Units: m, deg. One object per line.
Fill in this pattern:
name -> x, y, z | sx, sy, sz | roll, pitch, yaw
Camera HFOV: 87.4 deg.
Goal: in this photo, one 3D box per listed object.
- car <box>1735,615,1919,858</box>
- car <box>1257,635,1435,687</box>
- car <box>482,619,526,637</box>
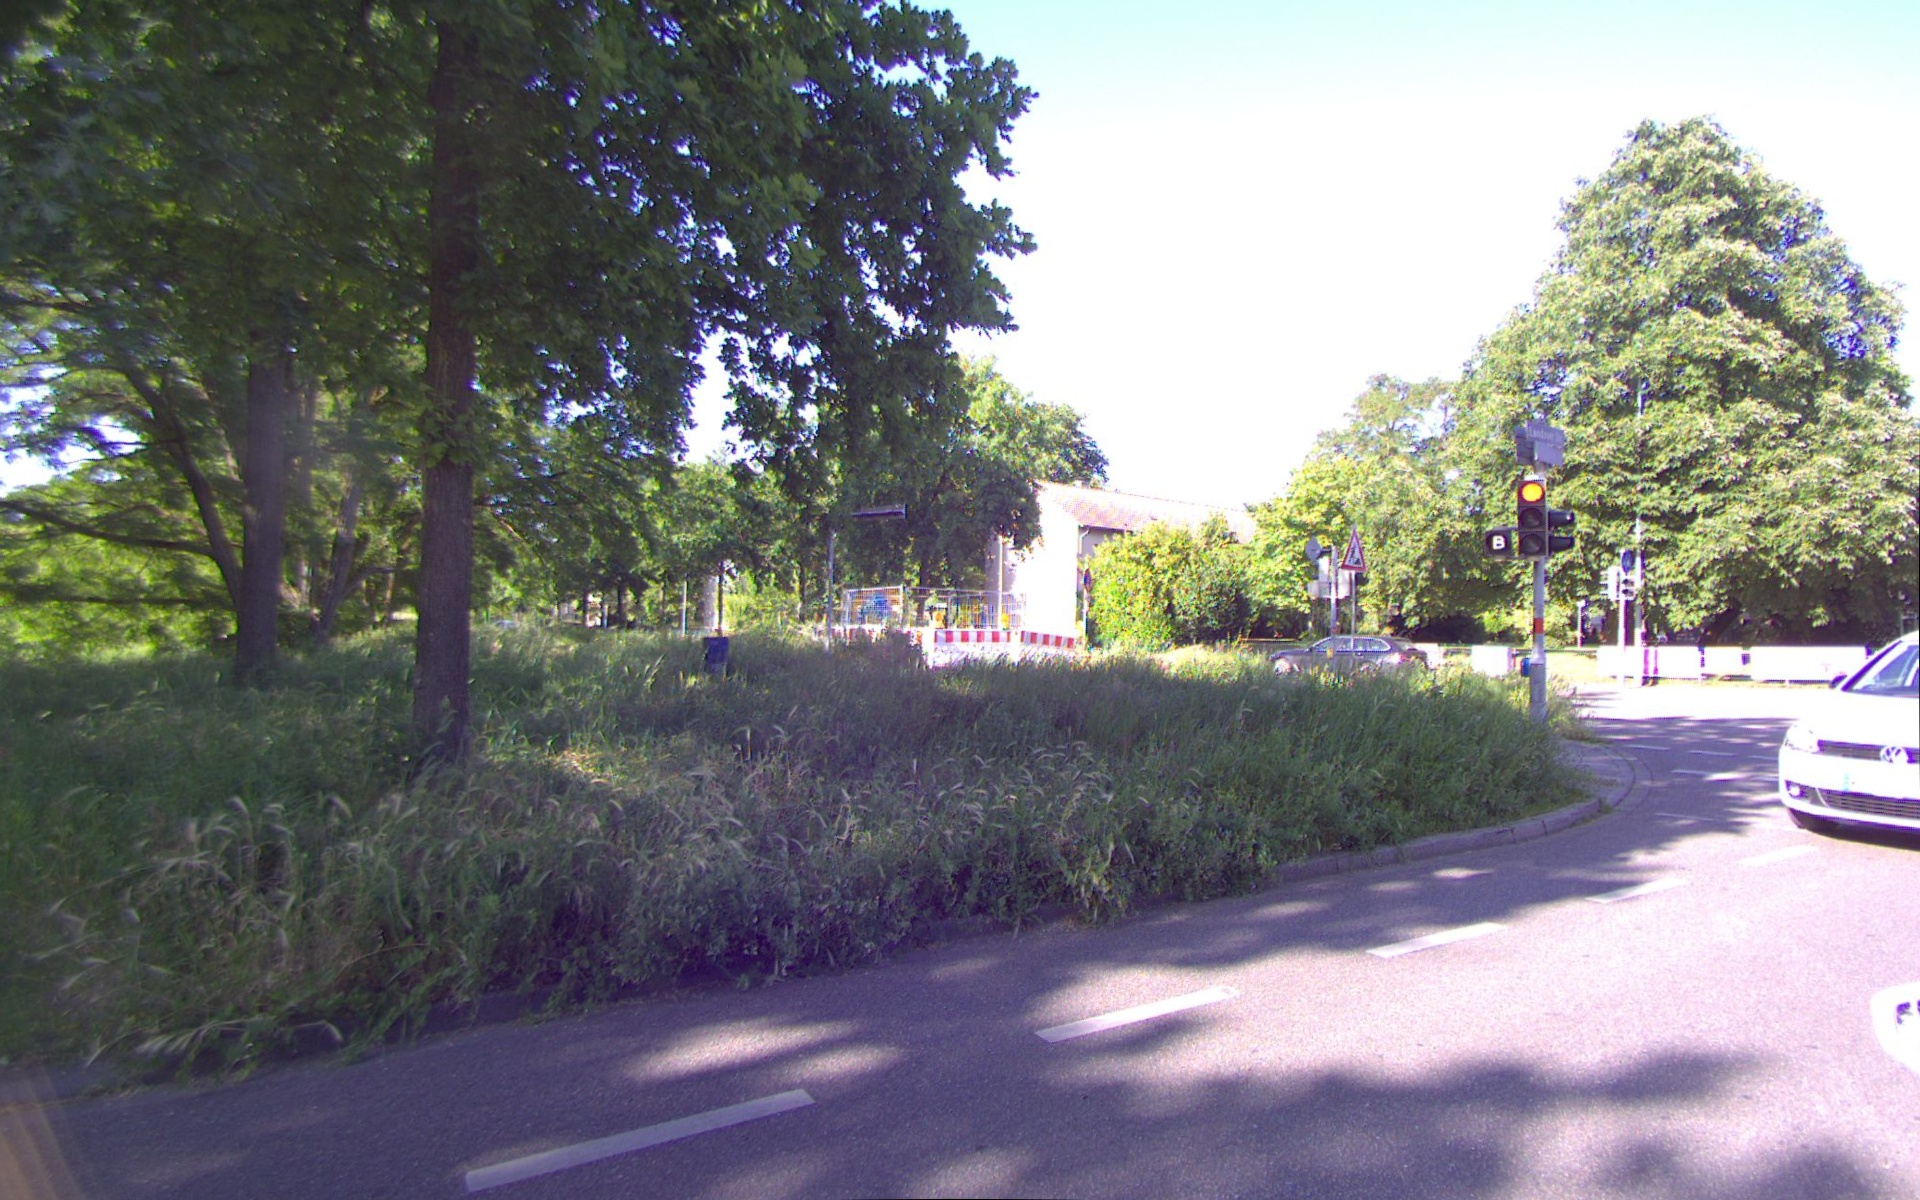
car -> 8.003, 0.931, 7.591 | 4.065, 1.583, 1.747 | 1, -3, -26
car -> 11.540, 1.791, 30.346 | 1.983, 1.449, 4.691 | 2, -3, -39
car -> -47.408, 2.876, 104.474 | 3.939, 1.673, 1.991 | 2, 0, -20
